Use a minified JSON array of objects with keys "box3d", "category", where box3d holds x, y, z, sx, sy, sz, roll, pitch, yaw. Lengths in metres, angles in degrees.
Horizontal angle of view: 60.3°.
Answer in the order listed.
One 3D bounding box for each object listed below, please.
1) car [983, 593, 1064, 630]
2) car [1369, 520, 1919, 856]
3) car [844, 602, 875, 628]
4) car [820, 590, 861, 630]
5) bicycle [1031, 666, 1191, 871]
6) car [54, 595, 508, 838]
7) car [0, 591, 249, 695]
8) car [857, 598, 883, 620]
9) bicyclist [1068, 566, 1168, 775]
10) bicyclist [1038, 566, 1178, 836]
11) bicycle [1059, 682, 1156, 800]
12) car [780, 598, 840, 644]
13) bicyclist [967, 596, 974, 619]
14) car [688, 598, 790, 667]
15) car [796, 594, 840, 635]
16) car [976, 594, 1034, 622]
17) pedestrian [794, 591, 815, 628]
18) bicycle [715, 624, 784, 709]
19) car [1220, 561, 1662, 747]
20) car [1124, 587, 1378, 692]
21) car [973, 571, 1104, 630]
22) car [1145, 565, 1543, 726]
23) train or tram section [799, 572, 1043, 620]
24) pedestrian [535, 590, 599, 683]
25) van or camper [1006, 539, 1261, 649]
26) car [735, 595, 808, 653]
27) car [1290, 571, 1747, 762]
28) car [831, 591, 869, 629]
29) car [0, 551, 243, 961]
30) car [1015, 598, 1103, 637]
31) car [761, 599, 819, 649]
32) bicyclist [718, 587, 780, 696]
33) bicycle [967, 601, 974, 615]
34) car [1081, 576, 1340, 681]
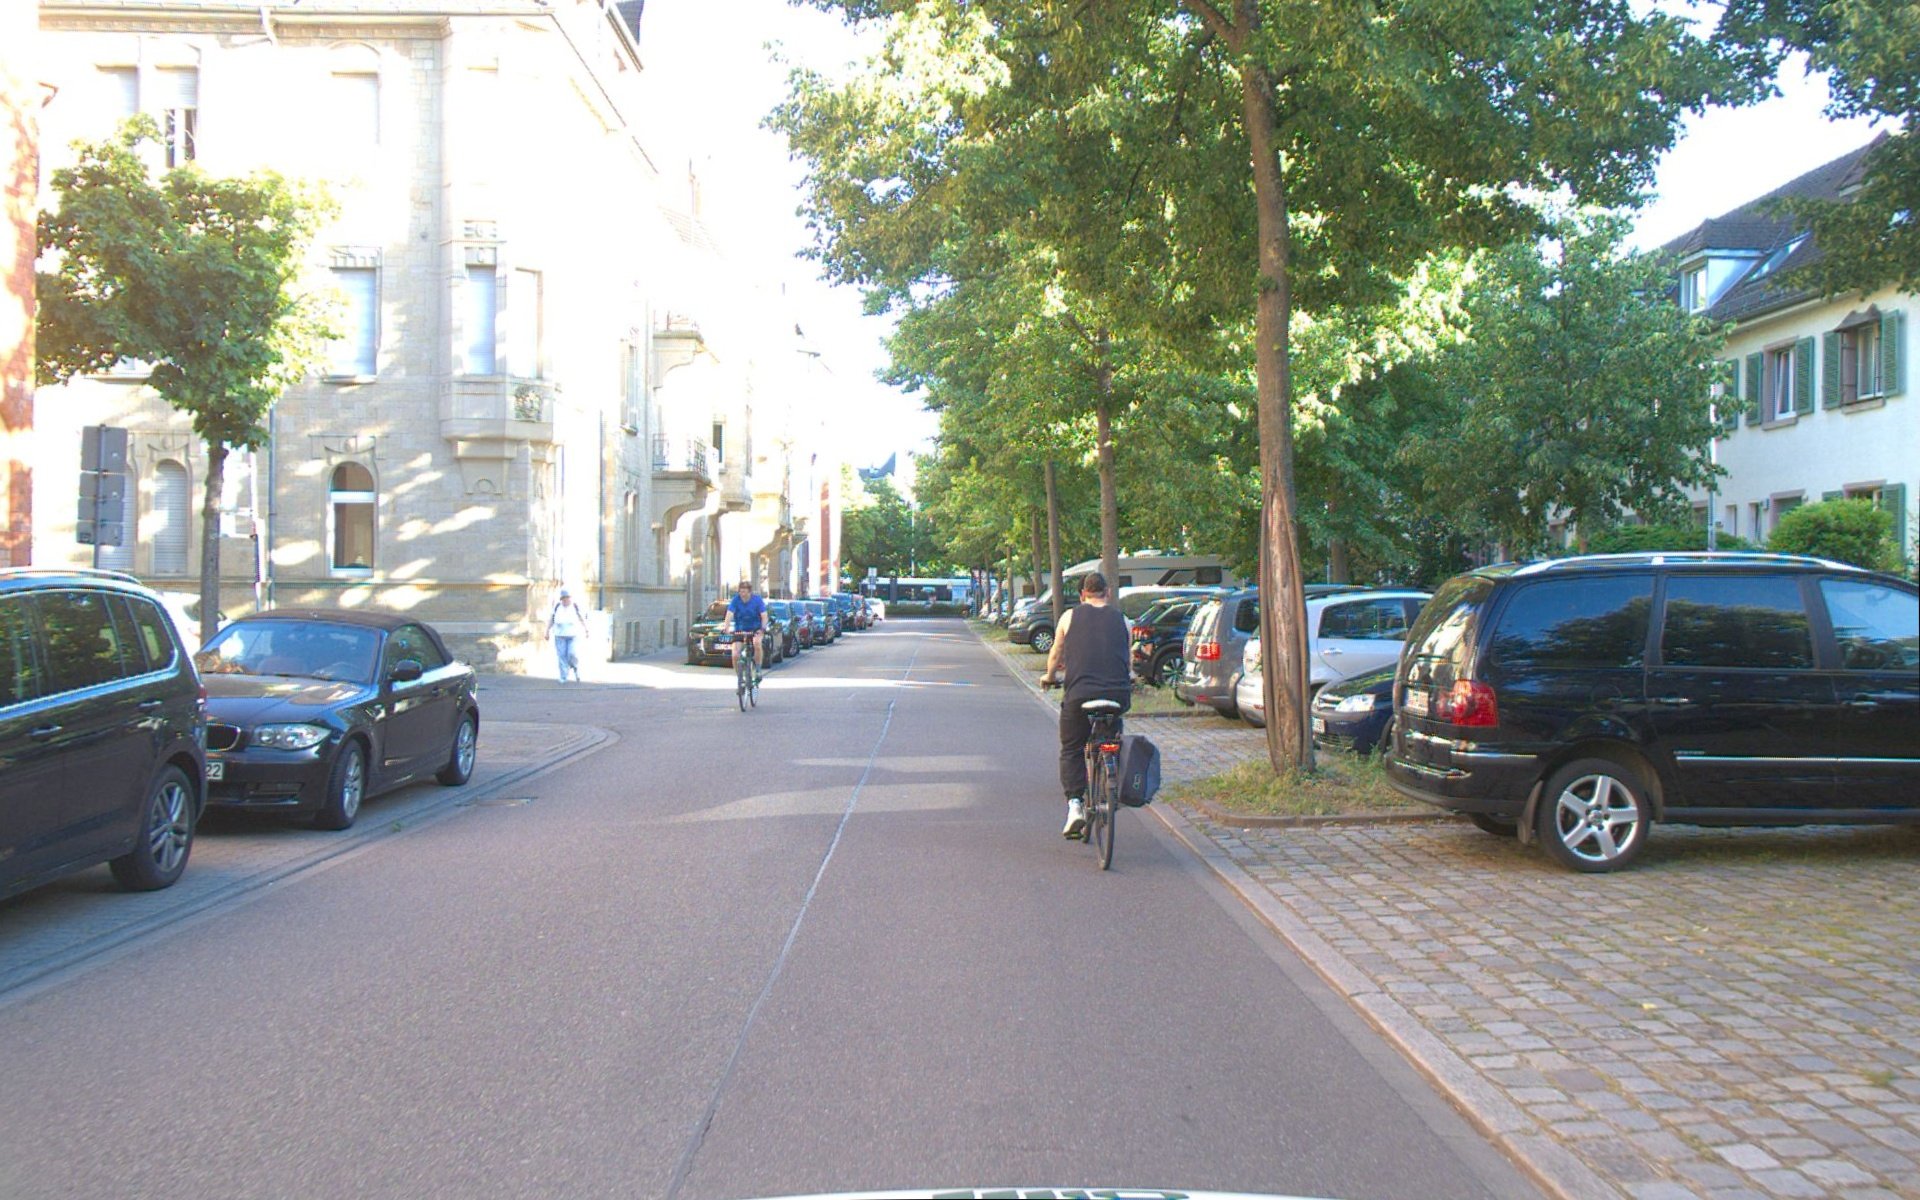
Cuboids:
[{"box3d":[3.242,0.571,85.155,4.001,1.678,1.640,-3,0,-3],"category":"car"},{"box3d":[4.988,0.430,10.041,4.487,1.706,1.907,-3,0,1],"category":"car"},{"box3d":[-5.944,0.881,98.191,1.551,1.367,4.131,2,0,0],"category":"car"},{"box3d":[-5.760,0.475,80.220,1.607,1.814,4.354,2,0,0],"category":"car"},{"box3d":[0.886,0.980,10.226,0.722,1.072,1.955,2,-1,-2],"category":"bicycle"},{"box3d":[-4.802,0.739,12.431,1.602,1.435,4.332,3,0,-1],"category":"car"},{"box3d":[-13.984,0.682,27.311,3.720,1.577,1.718,0,3,-3],"category":"car"},{"box3d":[-6.273,0.638,115.672,1.551,1.399,4.131,2,0,0],"category":"car"},{"box3d":[1.302,0.565,13.780,0.675,1.655,0.998,2,0,-1],"category":"bicyclist"},{"box3d":[0.900,0.607,10.265,0.715,1.575,0.884,2,-1,-2],"category":"bicyclist"},{"box3d":[1.199,1.137,13.764,0.620,0.813,1.832,0,0,-1],"category":"bicycle"},{"box3d":[-5.228,0.703,58.102,1.641,1.455,4.550,2,0,0],"category":"car"},{"box3d":[0.762,0.575,125.536,0.476,1.775,0.655,1,-1,-1],"category":"bicyclist"},{"box3d":[-5.141,0.738,39.042,1.774,1.451,4.897,3,0,-1],"category":"car"},{"box3d":[-5.708,0.558,66.861,1.564,1.514,2.735,4,0,-2],"category":"car"},{"box3d":[3.106,0.568,114.720,3.907,1.835,1.833,2,-1,-3],"category":"car"},{"box3d":[-7.551,0.482,80.215,0.919,1.773,0.735,1,-1,0],"category":"pedestrian"},{"box3d":[-2.930,0.909,23.150,0.742,1.127,1.907,-1,-1,-1],"category":"bicycle"},{"box3d":[5.023,0.550,17.689,4.184,1.662,1.691,-3,0,2],"category":"car"},{"box3d":[4.904,0.646,28.213,3.985,1.502,1.694,-3,1,0],"category":"car"},{"box3d":[4.354,0.019,92.505,7.005,3.030,2.462,-2,0,-4],"category":"car"},{"box3d":[4.725,0.535,20.676,4.453,1.662,1.810,-3,0,-7],"category":"car"},{"box3d":[-3.544,-0.325,158.120,23.483,3.773,4.255,2,-1,-23],"category":"train or tram section"},{"box3d":[-6.980,0.629,29.422,0.870,1.604,1.053,-1,1,-1],"category":"pedestrian"},{"box3d":[4.910,-0.181,47.629,7.000,2.693,2.465,-3,0,1],"category":"van or camper"},{"box3d":[-5.085,0.650,45.073,1.662,1.479,4.026,0,-1,-2],"category":"car"},{"box3d":[5.085,0.585,15.364,3.647,1.479,1.588,-3,0,-1],"category":"car"},{"box3d":[-5.796,0.503,87.196,1.654,1.857,4.272,2,0,0],"category":"car"},{"box3d":[-4.826,0.639,7.213,1.636,1.710,4.348,1,0,-3],"category":"car"},{"box3d":[4.254,0.763,71.556,3.695,1.628,1.691,0,-2,1],"category":"car"},{"box3d":[-5.333,0.731,52.217,1.596,1.478,3.835,1,0,-3],"category":"car"},{"box3d":[-2.935,0.569,23.089,0.744,1.479,0.948,-1,-1,-1],"category":"bicyclist"},{"box3d":[0.770,0.630,125.739,0.488,1.023,1.473,1,-2,-1],"category":"bicycle"},{"box3d":[4.593,0.516,30.826,4.524,1.739,1.833,-2,0,0],"category":"car"}]
